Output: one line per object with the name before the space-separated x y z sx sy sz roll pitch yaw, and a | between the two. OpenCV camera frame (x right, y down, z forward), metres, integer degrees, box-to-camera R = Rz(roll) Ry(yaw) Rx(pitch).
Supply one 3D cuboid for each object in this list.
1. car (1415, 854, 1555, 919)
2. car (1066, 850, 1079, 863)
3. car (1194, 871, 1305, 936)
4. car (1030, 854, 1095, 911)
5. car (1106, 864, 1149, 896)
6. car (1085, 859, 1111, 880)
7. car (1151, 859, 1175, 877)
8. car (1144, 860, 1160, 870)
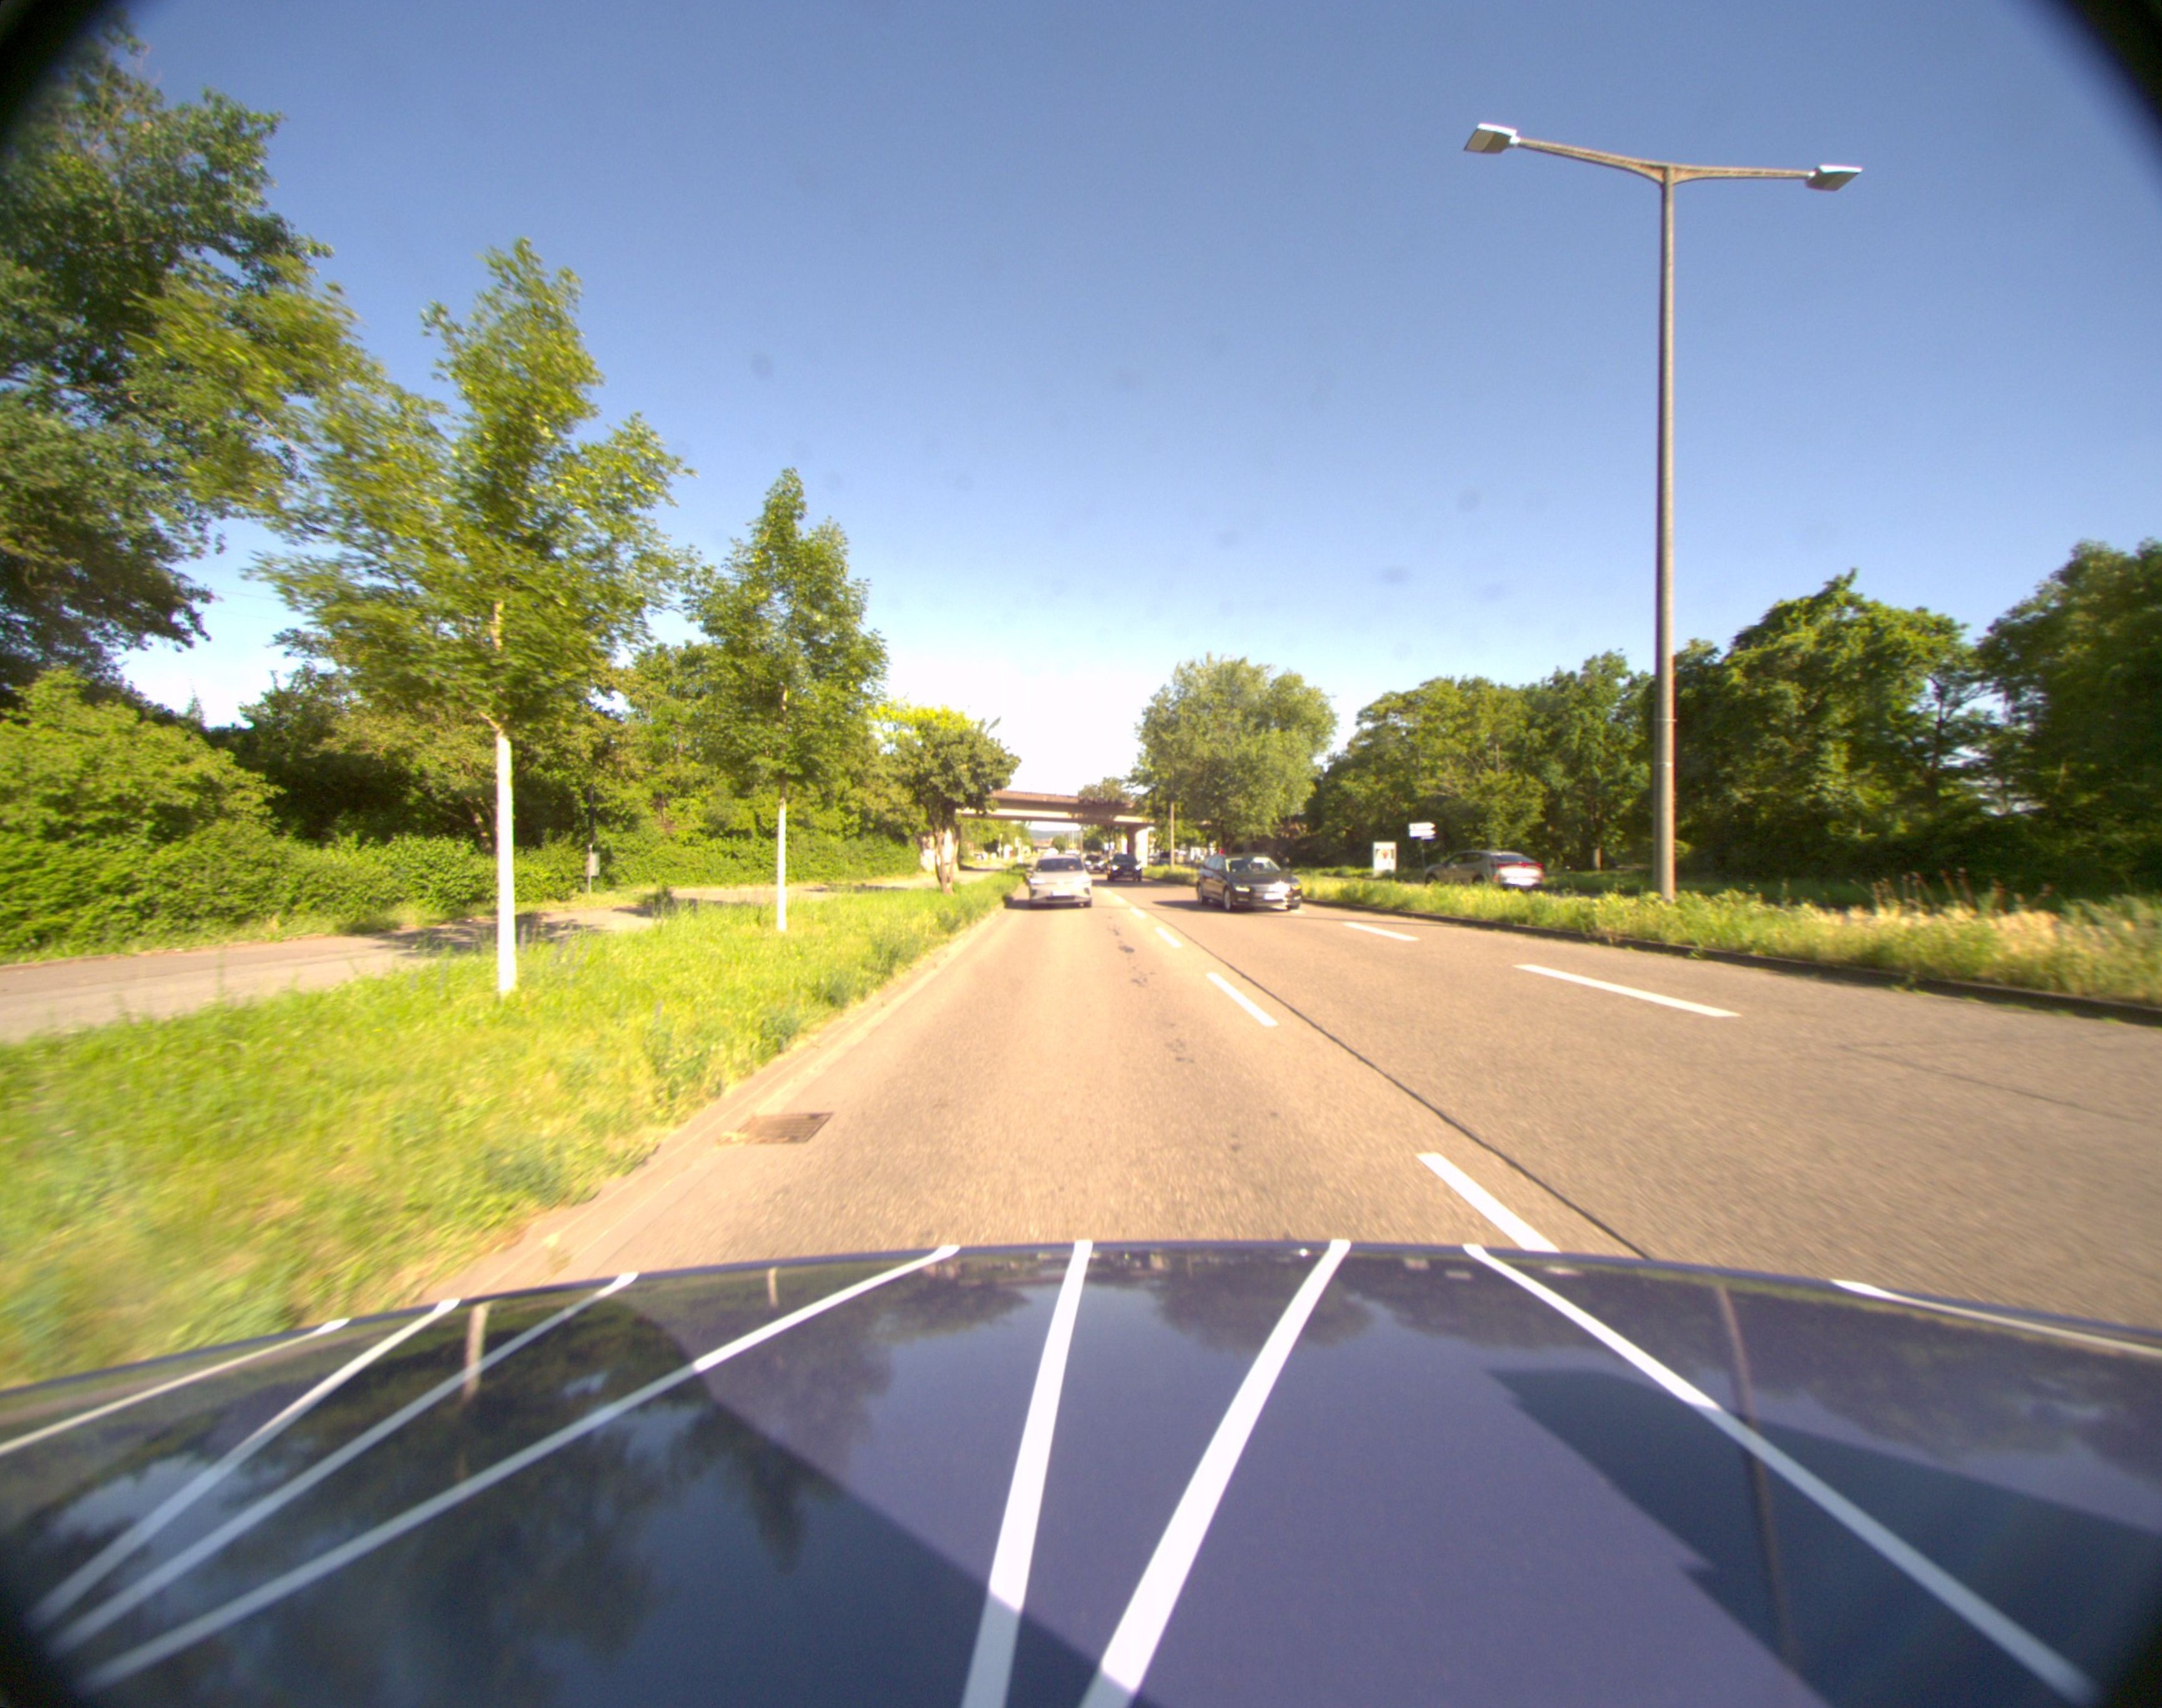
car | 13.657 1.019 26.039 2.000 2.002 4.580 -1 0 -6
car | -1.411 0.448 128.867 2.089 2.229 3.999 -1 0 -3
car | 4.319 1.231 20.118 1.849 1.445 4.264 0 0 -2
car | -0.608 0.833 23.925 1.849 1.615 4.264 0 0 -2
car | 2.684 1.488 44.572 1.999 1.674 4.695 -1 0 -3
car | 1.507 1.387 68.885 1.999 1.778 4.270 -1 0 -3
car | 9.259 1.537 86.163 1.999 1.918 5.244 0 0 -3
car | 11.545 1.794 123.932 1.988 1.543 4.591 -1 0 -2
